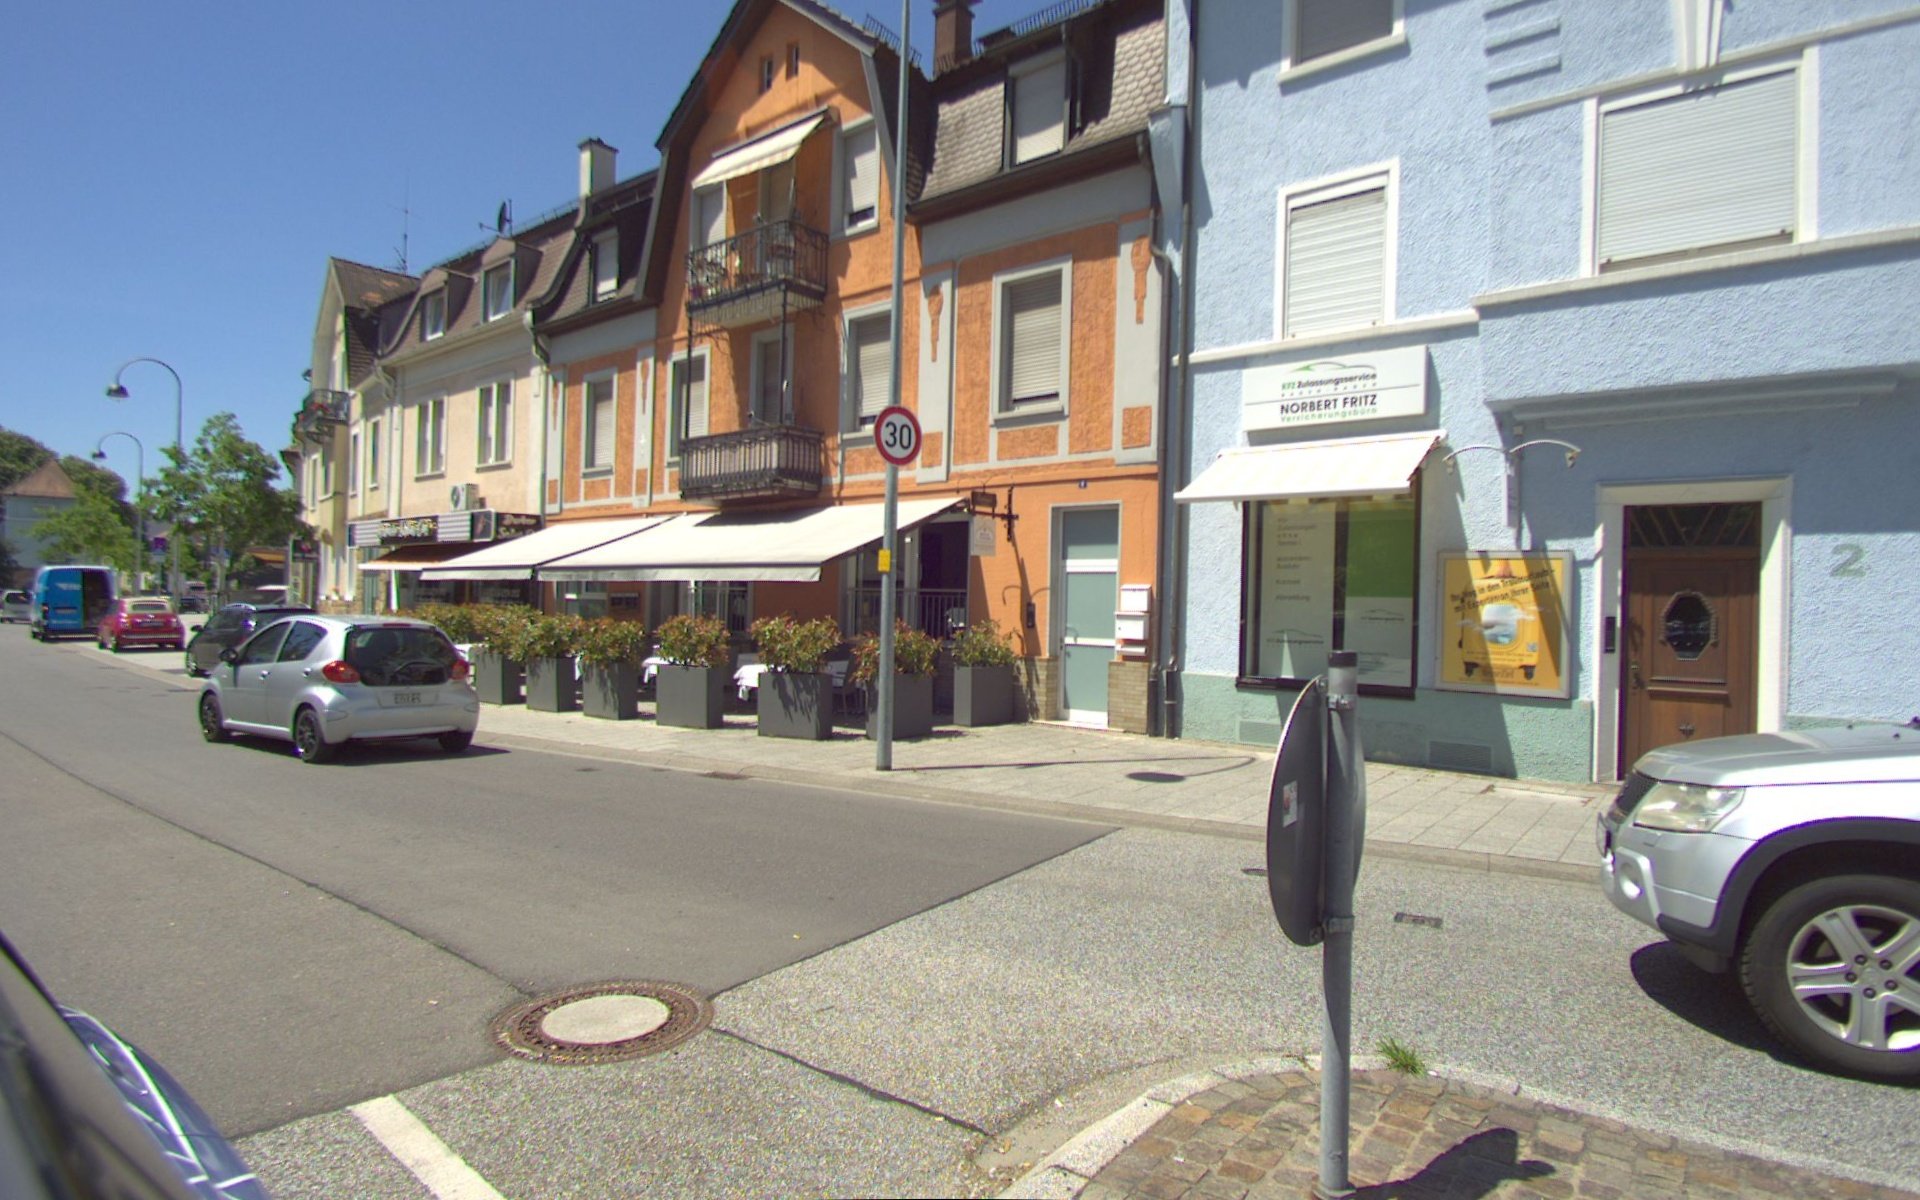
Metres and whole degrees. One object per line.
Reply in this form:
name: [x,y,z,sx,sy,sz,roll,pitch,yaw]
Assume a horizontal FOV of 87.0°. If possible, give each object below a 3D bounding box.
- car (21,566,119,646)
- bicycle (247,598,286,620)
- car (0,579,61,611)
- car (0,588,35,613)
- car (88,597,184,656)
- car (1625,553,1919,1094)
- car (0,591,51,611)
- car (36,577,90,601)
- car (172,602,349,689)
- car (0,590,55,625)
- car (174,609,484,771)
car: [-30.466,0.183,34.577,5.505,2.517,2.069,0,0,44]
bicycle: [-41.134,0.533,60.031,0.616,1.243,1.746,-1,1,42]
car: [-84.624,-0.457,91.419,4.788,2.757,1.856,3,-1,-31]
car: [-72.222,0.018,75.993,3.756,1.800,1.846,3,-1,-33]
car: [-23.773,0.717,29.161,3.514,1.532,1.543,1,0,41]
car: [4.738,0.755,3.274,4.184,1.701,1.819,0,-3,30]
car: [-74.820,0.107,80.413,3.760,1.473,1.655,-2,0,-39]
car: [-57.326,-0.684,64.729,1.889,1.437,3.991,2,-2,-32]
car: [-13.978,0.818,20.133,4.335,1.493,1.895,0,1,41]
car: [-52.156,0.409,56.250,1.966,1.836,4.428,3,-2,-33]
car: [-6.929,0.881,11.044,3.461,1.461,1.562,0,-2,34]
